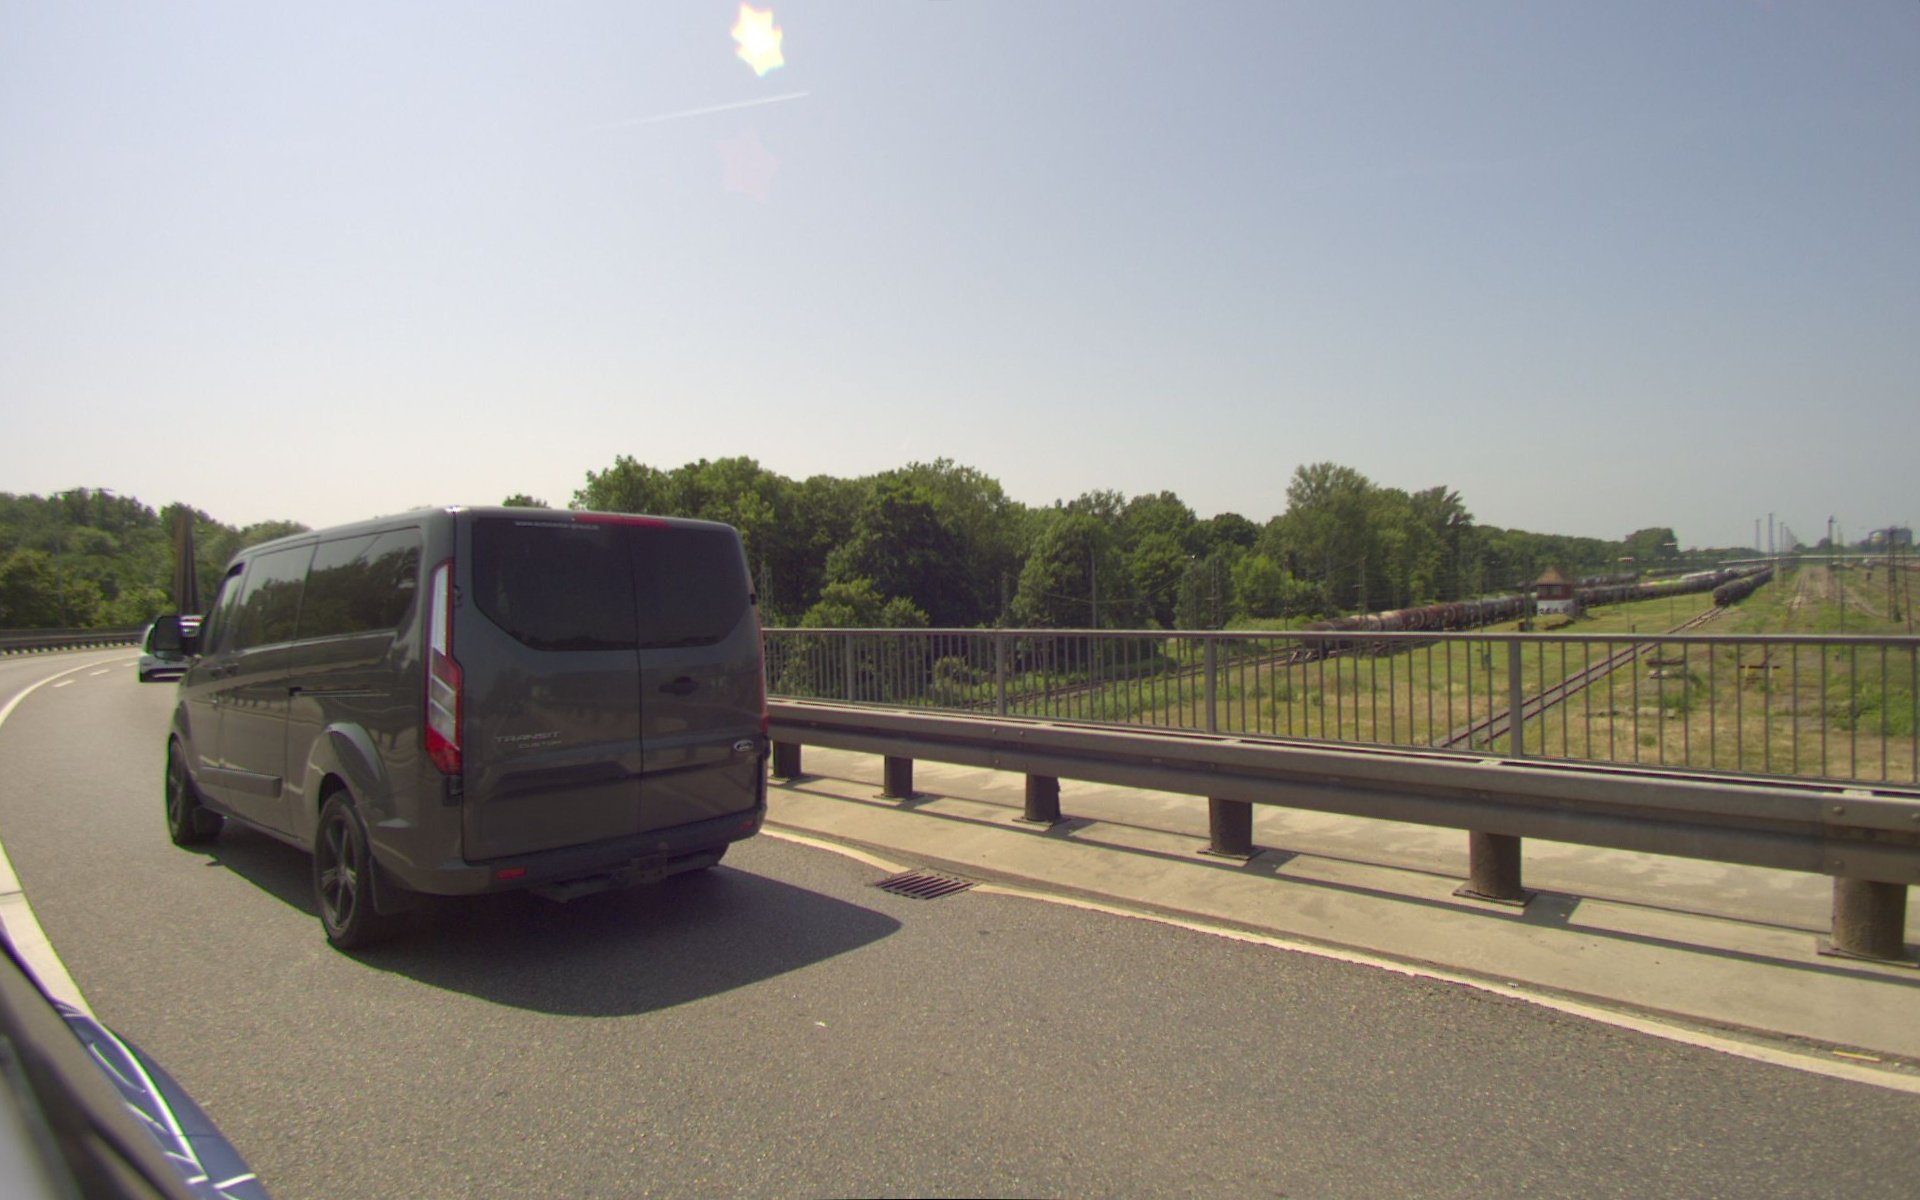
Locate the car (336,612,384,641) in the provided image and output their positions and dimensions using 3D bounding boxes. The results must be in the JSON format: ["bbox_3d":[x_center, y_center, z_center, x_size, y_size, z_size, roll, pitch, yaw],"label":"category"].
[{"bbox_3d":[-43.194,1.909,72.923,1.835,2.015,4.828,0,-1,-17],"label":"car"}]

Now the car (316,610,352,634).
[{"bbox_3d":[-55.598,1.964,89.965,1.965,2.029,4.013,-1,-1,-21],"label":"car"}]

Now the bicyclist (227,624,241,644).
[{"bbox_3d":[-60.321,2.790,84.042,0.685,1.611,0.667,-2,-1,17],"label":"bicyclist"}]

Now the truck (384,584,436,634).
[{"bbox_3d":[-46.306,0.830,85.345,2.668,4.022,6.204,0,-2,-17],"label":"truck"}]

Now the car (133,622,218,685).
[{"bbox_3d":[-20.399,1.355,26.366,1.643,1.475,3.494,-1,-1,-37],"label":"car"}]

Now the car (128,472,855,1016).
[{"bbox_3d":[-3.182,0.549,6.153,5.267,1.973,1.986,-1,-1,40],"label":"car"}]

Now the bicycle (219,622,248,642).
[{"bbox_3d":[-60.298,2.693,84.022,2.354,1.586,0.652,-2,-1,18],"label":"bicycle"}]

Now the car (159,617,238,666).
[{"bbox_3d":[-27.997,1.510,37.329,1.816,1.648,4.246,0,-2,-30],"label":"car"}]
